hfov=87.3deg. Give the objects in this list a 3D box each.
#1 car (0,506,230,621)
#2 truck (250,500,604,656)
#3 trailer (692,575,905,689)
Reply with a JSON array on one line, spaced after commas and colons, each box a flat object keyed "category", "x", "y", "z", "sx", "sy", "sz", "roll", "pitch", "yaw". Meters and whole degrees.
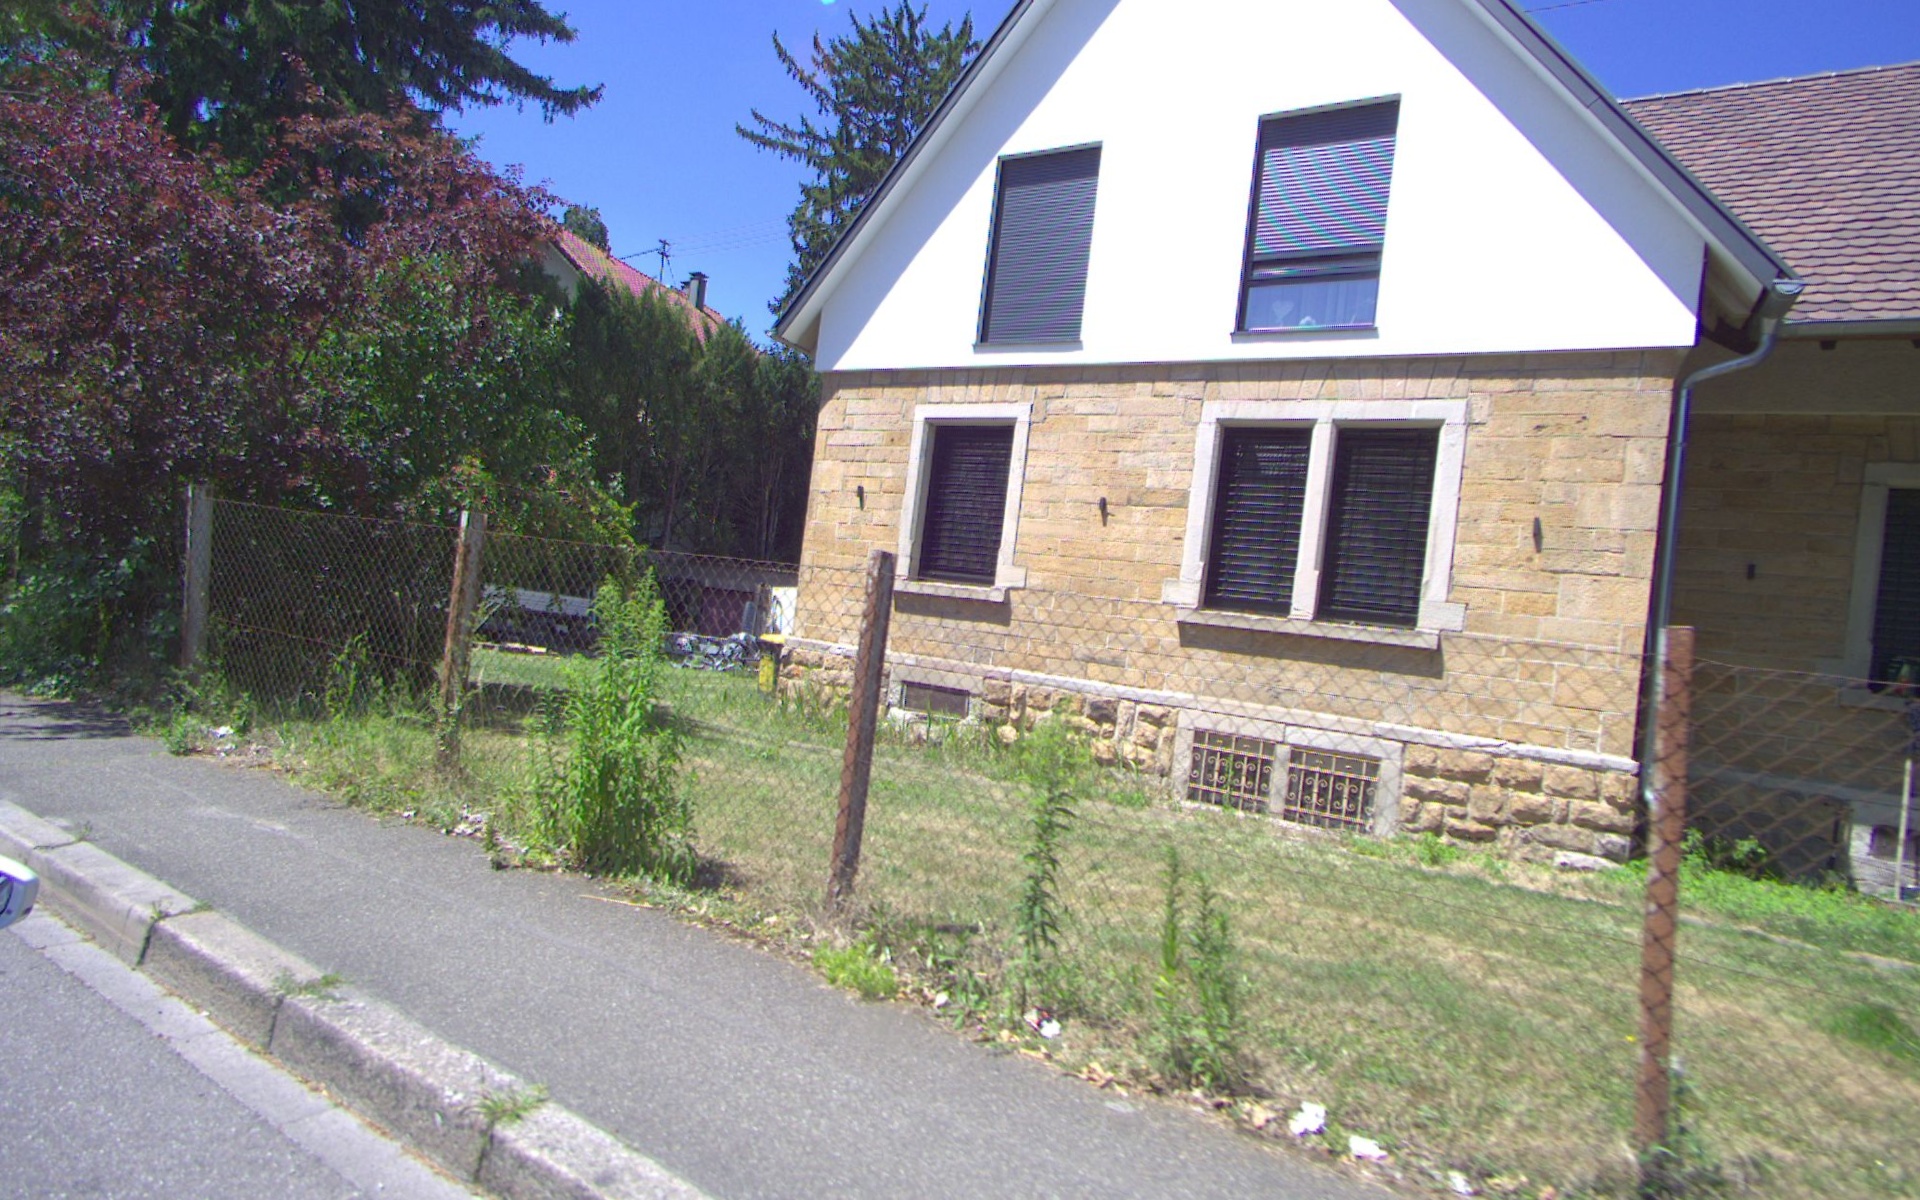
[{"category": "car", "x": -14.170, "y": -0.629, "z": 15.829, "sx": 1.737, "sy": 1.396, "sz": 3.870, "roll": 7, "pitch": -3, "yaw": 31}, {"category": "truck", "x": -10.974, "y": -0.273, "z": 21.571, "sx": 1.944, "sy": 2.190, "sz": 6.637, "roll": 8, "pitch": -4, "yaw": 26}, {"category": "trailer", "x": -3.259, "y": 0.735, "z": 20.944, "sx": 2.053, "sy": 1.955, "sz": 3.989, "roll": 0, "pitch": -6, "yaw": 37}]
